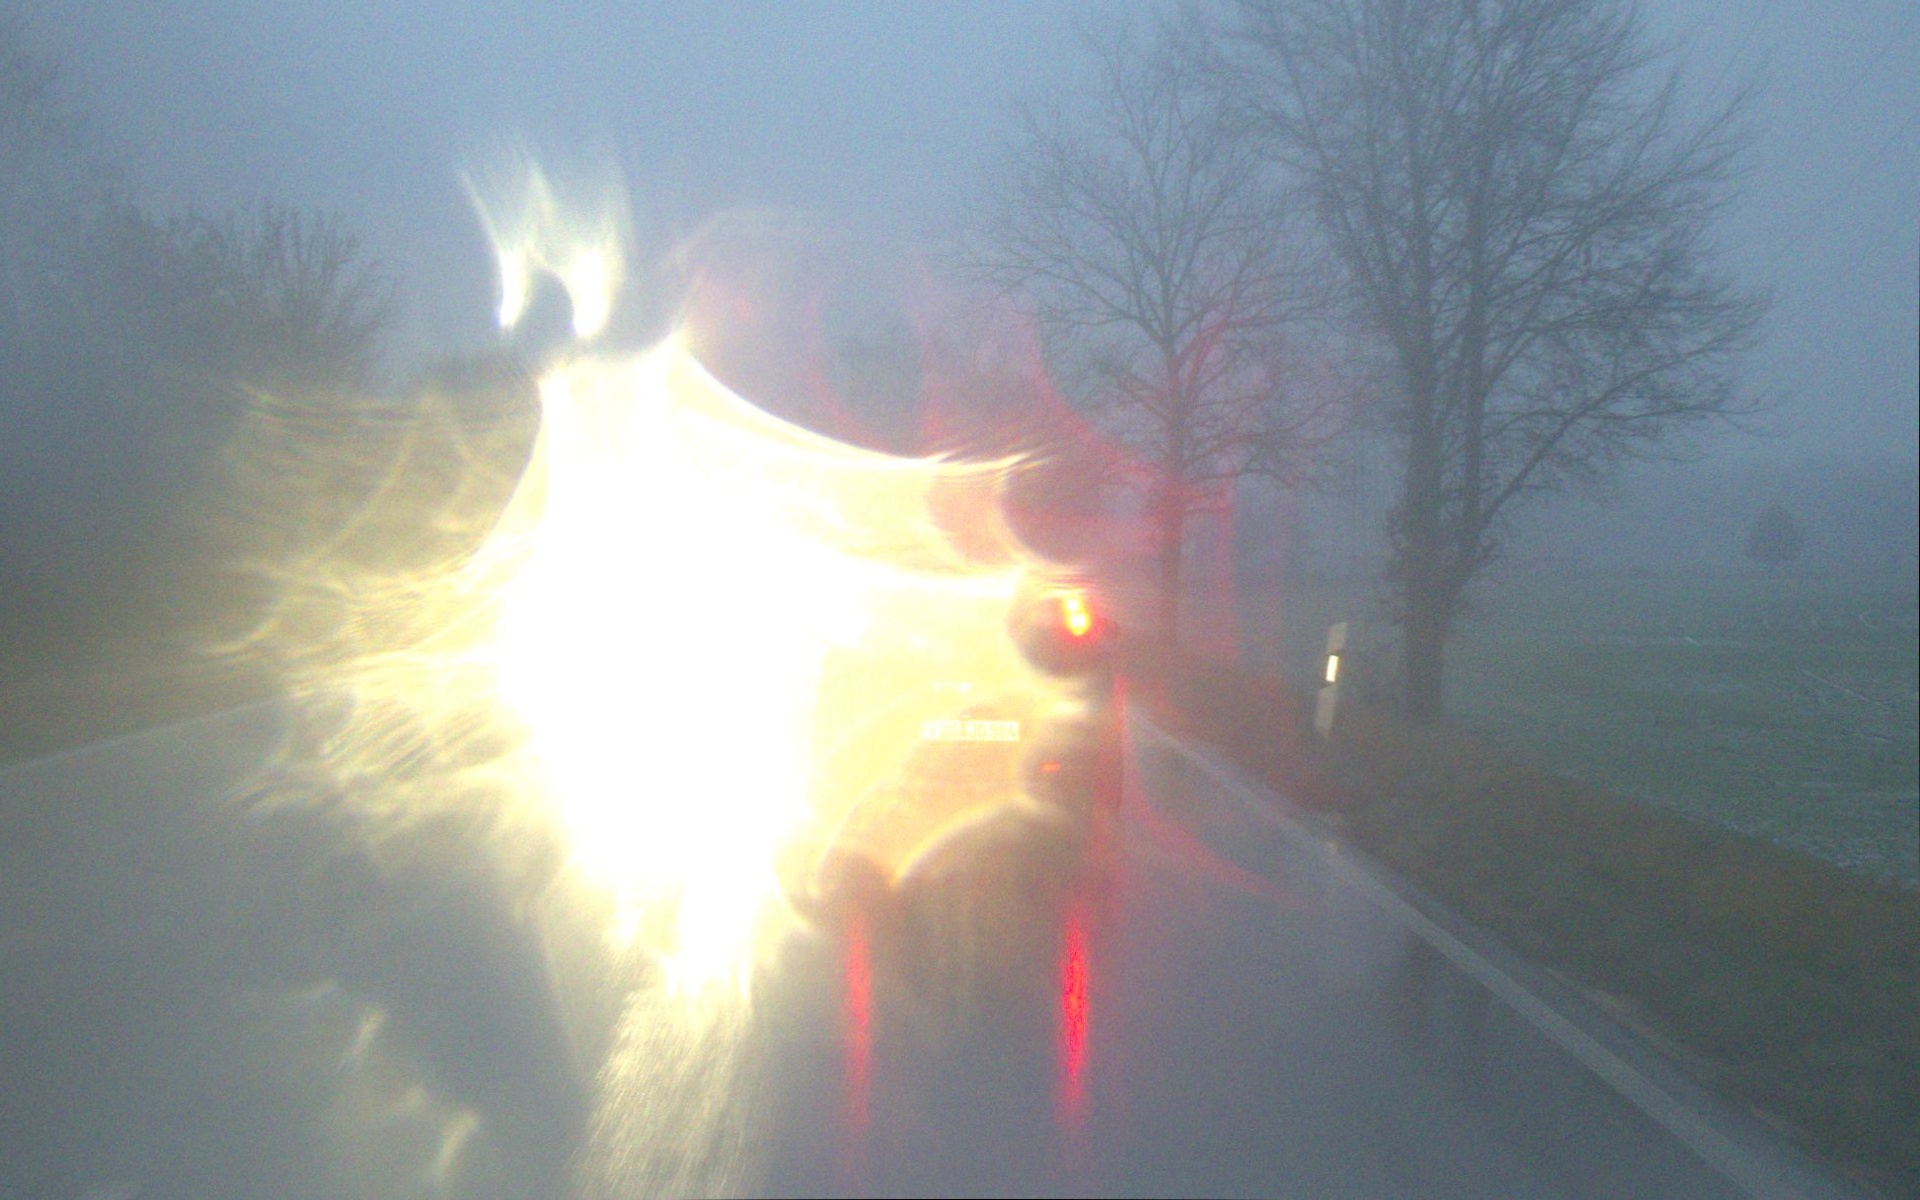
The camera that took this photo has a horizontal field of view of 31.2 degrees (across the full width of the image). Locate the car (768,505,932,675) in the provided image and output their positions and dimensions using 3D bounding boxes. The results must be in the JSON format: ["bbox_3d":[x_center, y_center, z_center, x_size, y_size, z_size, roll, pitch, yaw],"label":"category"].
[{"bbox_3d":[-1.331,-0.151,43.170,1.852,2.007,4.000,1,1,1],"label":"car"}]

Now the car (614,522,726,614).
[{"bbox_3d":[-5.548,-0.647,66.128,1.863,1.694,4.468,1,1,-1],"label":"car"}]

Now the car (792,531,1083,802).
[{"bbox_3d":[-0.097,0.322,19.513,1.500,1.393,3.199,1,1,1],"label":"car"}]

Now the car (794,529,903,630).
[{"bbox_3d":[-1.960,-0.405,61.124,1.863,1.694,4.468,1,1,-1],"label":"car"}]
